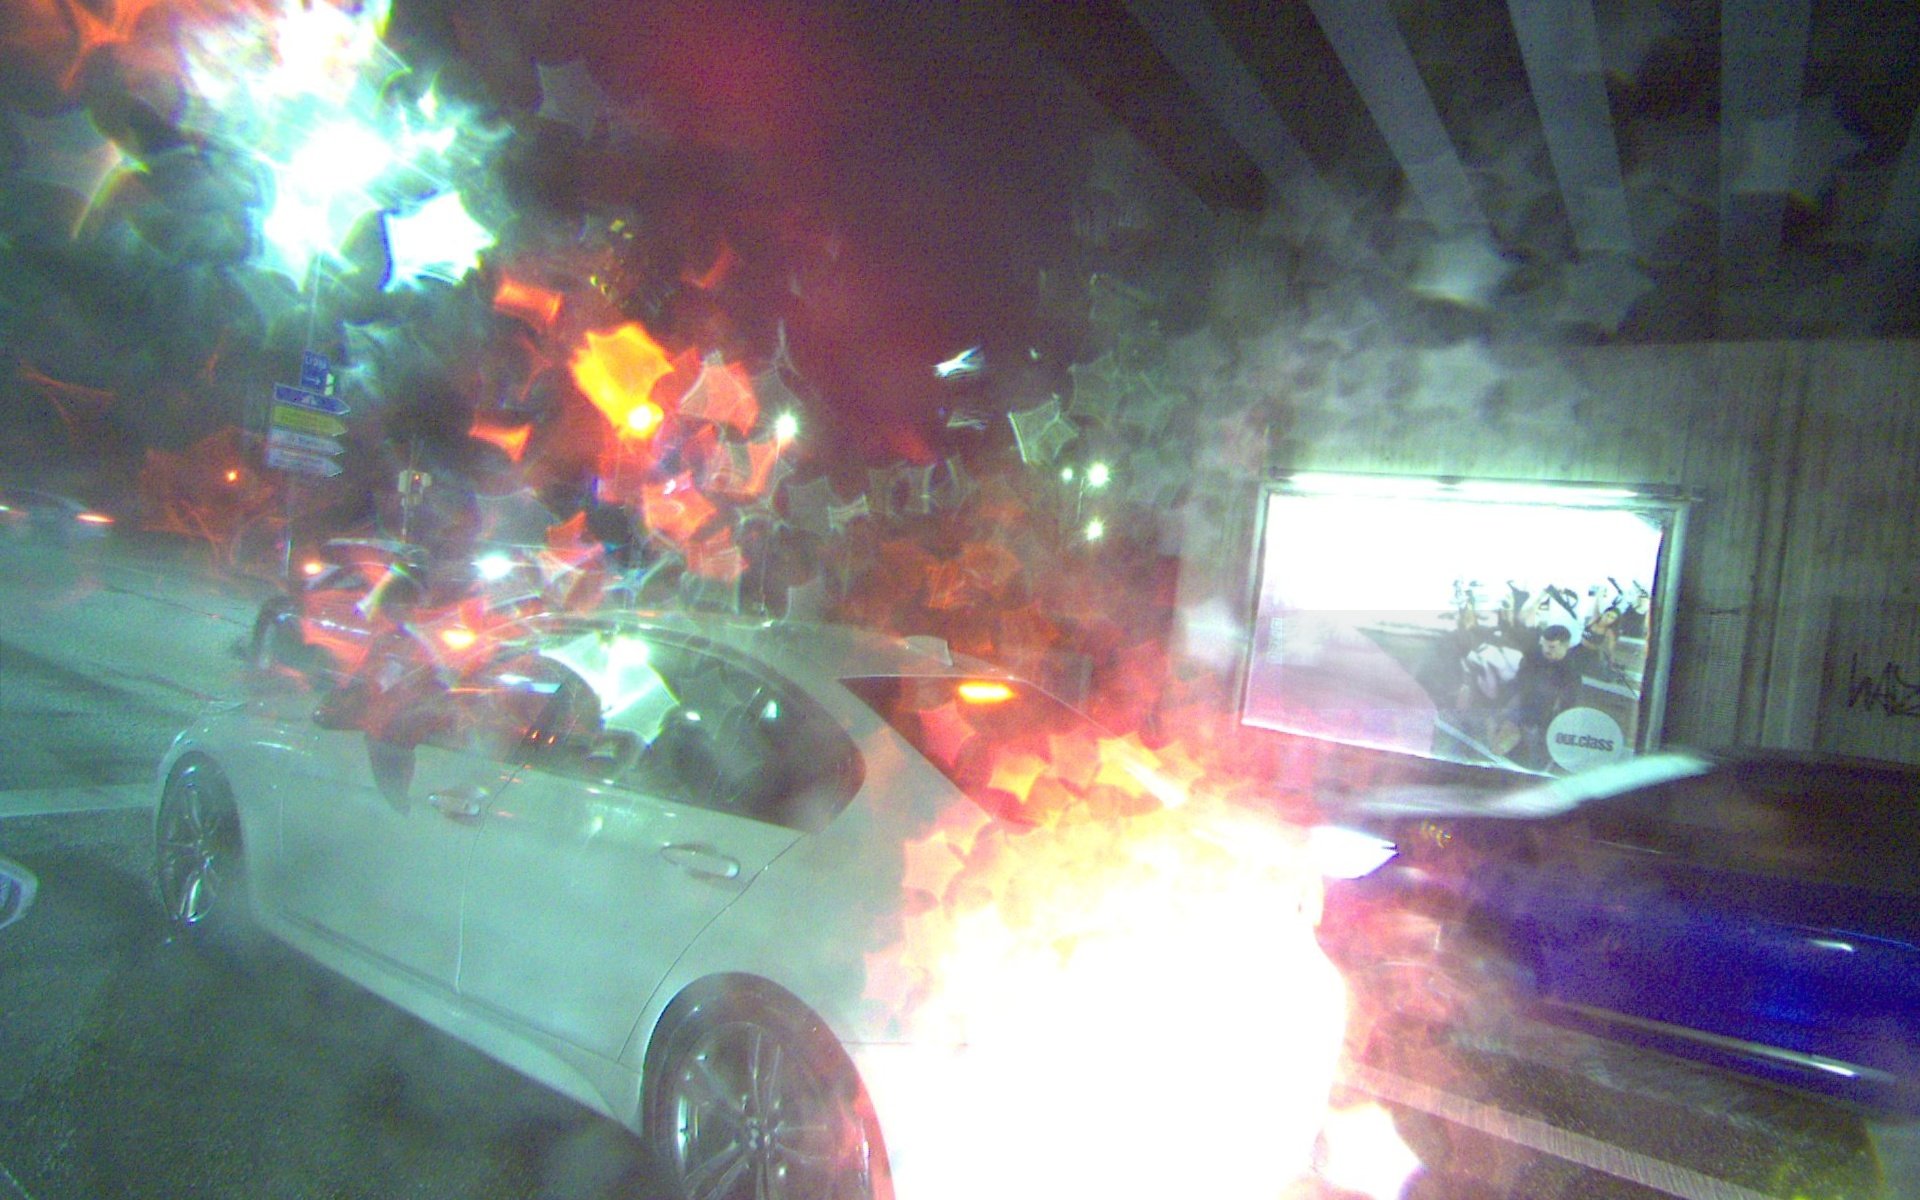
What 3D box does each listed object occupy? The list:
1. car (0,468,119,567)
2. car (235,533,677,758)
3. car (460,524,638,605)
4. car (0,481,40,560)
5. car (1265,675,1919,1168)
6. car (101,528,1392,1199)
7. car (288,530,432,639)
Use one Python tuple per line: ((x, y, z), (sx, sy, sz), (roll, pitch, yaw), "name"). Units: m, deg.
((-25.136, -2.322, 26.018), (4.891, 2.169, 2.120), (9, -2, -38), "car")
((-4.901, 0.347, 9.518), (4.495, 1.406, 1.753), (7, -1, 36), "car")
((-13.680, -1.116, 33.776), (1.969, 2.008, 5.093), (7, -1, 36), "car")
((-21.830, -1.952, 20.469), (1.879, 1.606, 4.080), (7, -2, 27), "car")
((3.512, 1.319, 4.532), (3.695, 1.448, 1.754), (6, -1, 29), "car")
((-0.990, 0.707, 3.505), (4.277, 1.420, 1.720), (6, -2, 32), "car")
((-10.174, -0.265, 17.287), (1.619, 1.475, 3.573), (8, -2, -25), "car")
